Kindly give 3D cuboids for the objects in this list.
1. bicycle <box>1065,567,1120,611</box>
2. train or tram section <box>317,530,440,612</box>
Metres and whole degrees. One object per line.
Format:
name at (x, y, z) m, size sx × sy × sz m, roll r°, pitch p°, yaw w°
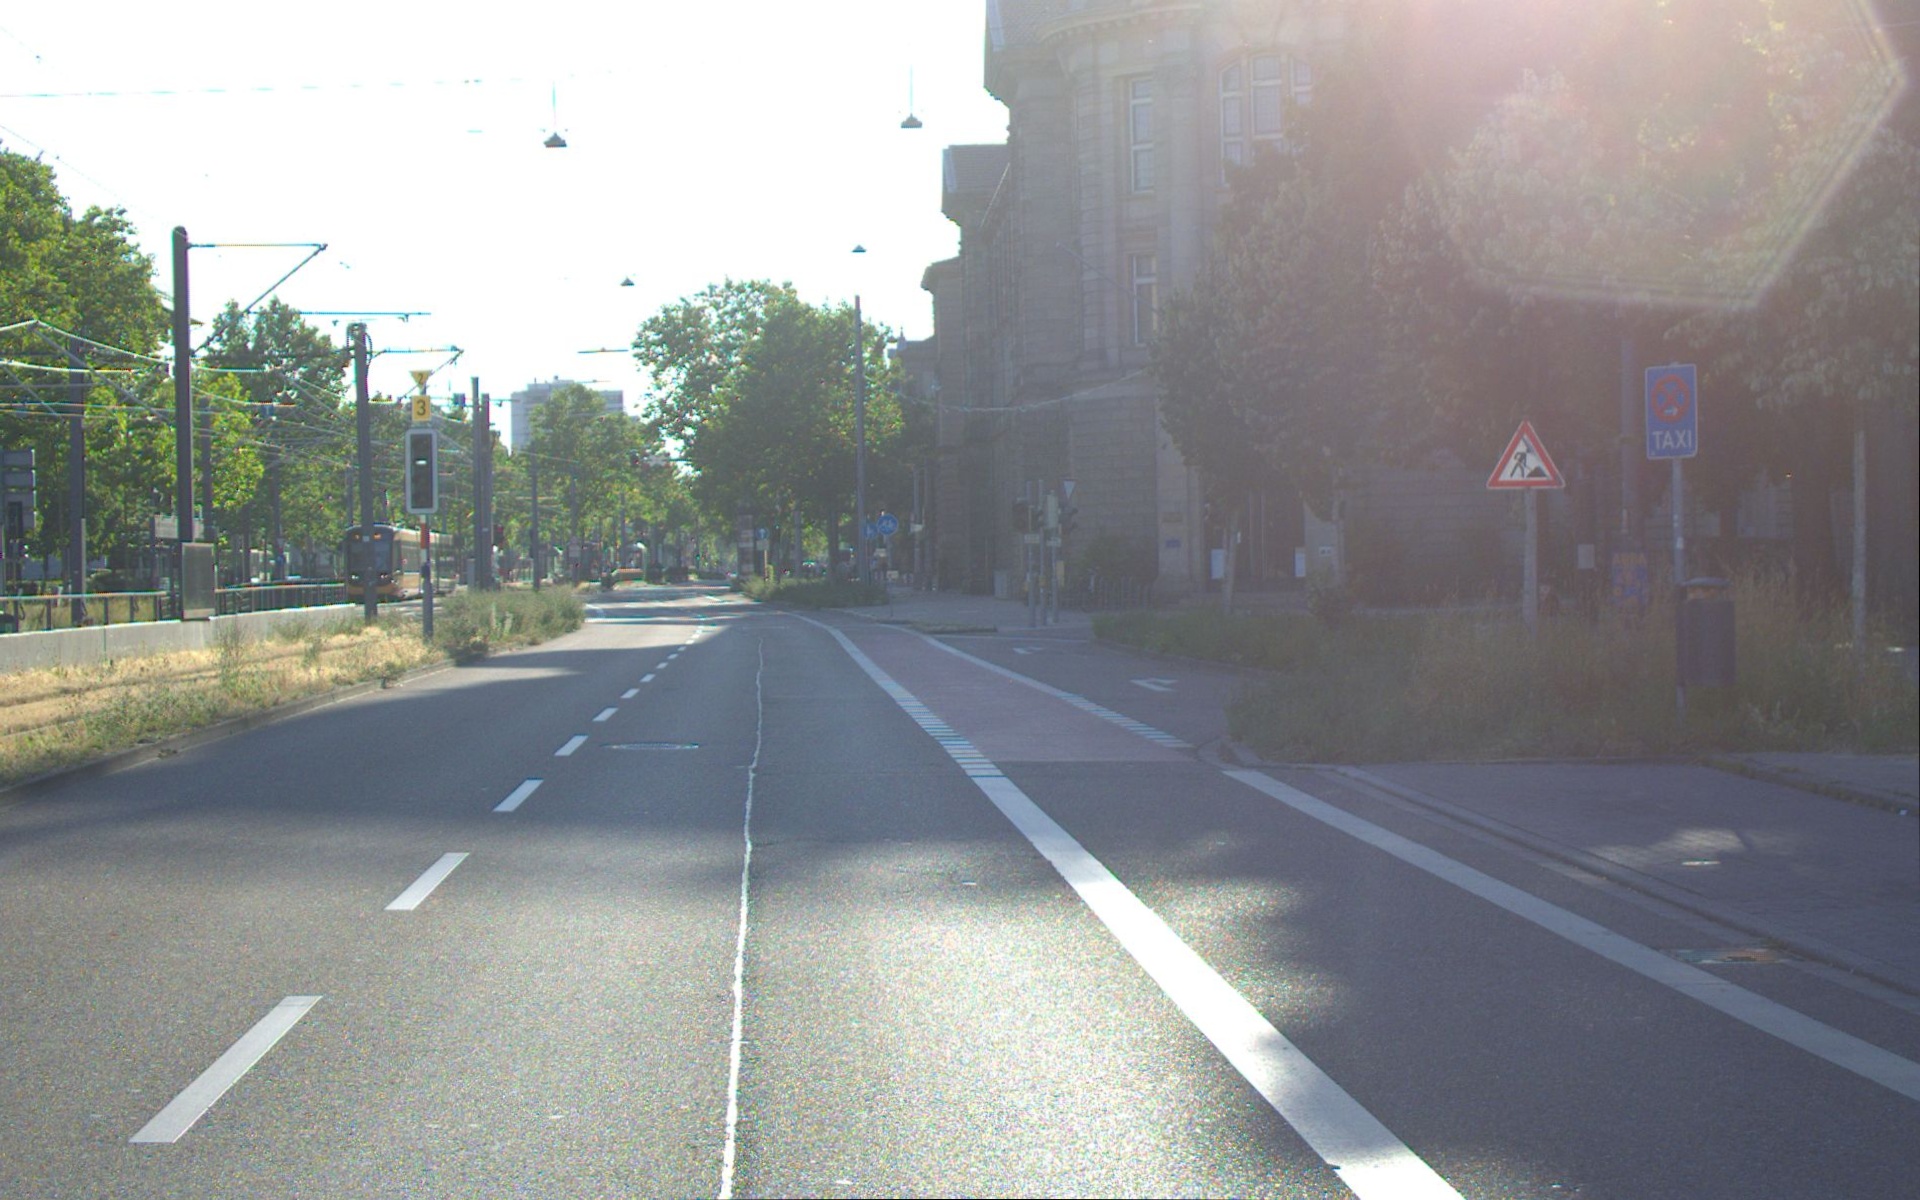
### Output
bicycle at (3.737, -0.324, 96.769) m, size 0.867 × 1.192 × 2.237 m, roll -1°, pitch 0°, yaw 20°
train or tram section at (-26.894, -1.339, 159.929) m, size 3.112 × 3.547 × 17.479 m, roll -1°, pitch 1°, yaw -1°
